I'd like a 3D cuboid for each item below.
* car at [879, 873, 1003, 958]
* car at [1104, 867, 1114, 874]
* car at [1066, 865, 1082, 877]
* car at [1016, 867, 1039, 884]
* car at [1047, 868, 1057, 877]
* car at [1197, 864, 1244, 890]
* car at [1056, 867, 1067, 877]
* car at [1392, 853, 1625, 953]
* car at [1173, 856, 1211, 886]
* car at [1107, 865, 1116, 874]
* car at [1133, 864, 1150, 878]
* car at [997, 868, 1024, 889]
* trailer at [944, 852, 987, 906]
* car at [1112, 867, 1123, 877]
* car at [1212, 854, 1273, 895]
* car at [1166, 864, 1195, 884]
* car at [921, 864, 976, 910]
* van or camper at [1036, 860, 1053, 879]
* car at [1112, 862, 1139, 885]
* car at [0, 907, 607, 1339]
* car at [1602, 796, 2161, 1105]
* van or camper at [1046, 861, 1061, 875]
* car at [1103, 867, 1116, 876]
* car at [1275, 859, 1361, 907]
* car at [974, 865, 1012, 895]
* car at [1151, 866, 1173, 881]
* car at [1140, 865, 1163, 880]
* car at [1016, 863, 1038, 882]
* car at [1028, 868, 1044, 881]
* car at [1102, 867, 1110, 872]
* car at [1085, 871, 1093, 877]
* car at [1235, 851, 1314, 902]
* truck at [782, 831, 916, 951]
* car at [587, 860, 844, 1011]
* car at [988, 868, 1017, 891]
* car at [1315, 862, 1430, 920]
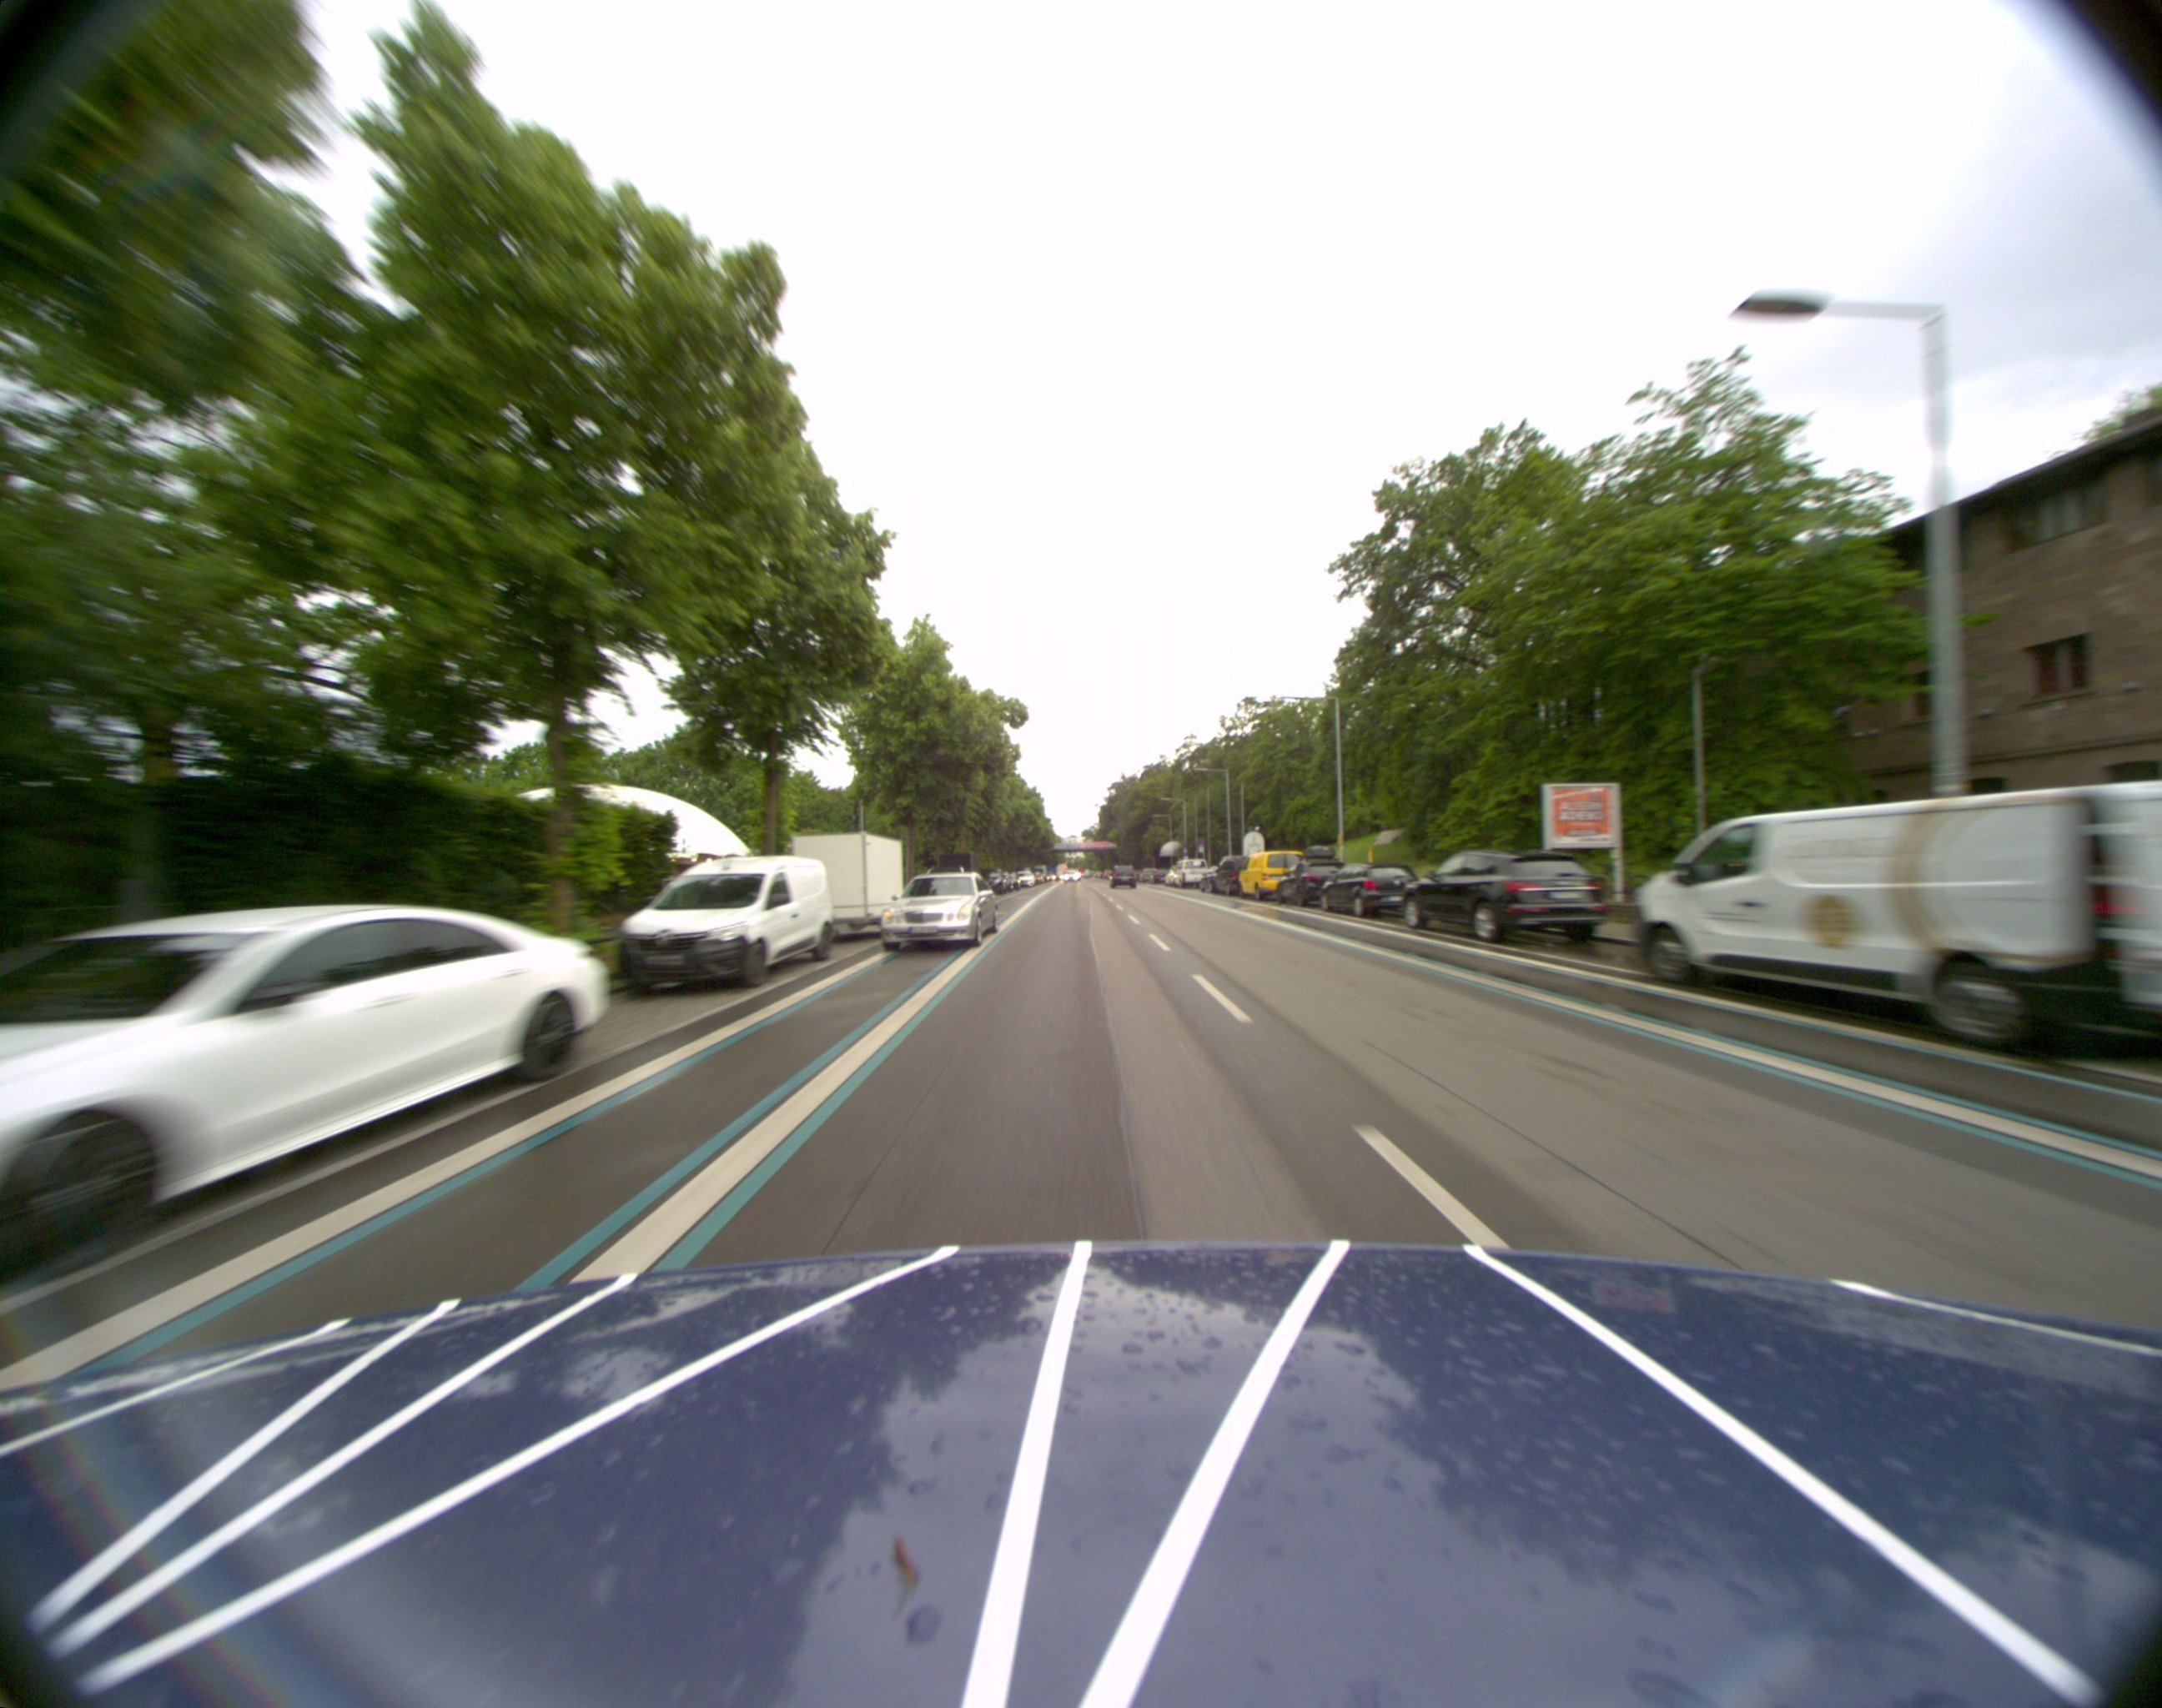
[{"bbox_3d":[-2.725,1.156,15.797,1.726,1.390,4.591,-2,-1,-1],"label":"car"},{"bbox_3d":[6.342,3.826,172.783,1.823,1.586,3.743,-1,-2,-3],"label":"car"},{"bbox_3d":[-0.877,2.169,96.523,1.828,1.453,3.882,-3,0,0],"label":"car"},{"bbox_3d":[-4.986,2.032,71.436,1.824,1.477,4.292,-2,0,0],"label":"car"},{"bbox_3d":[-5.340,3.398,140.646,1.733,1.578,3.671,-3,0,0],"label":"car"},{"bbox_3d":[7.964,1.294,43.739,1.688,1.450,4.611,0,-1,-2],"label":"car"},{"bbox_3d":[-3.391,3.124,132.796,1.733,1.578,3.671,-3,0,0],"label":"car"},{"bbox_3d":[7.934,0.836,14.725,1.829,1.606,4.663,-1,-1,-1],"label":"car"},{"bbox_3d":[7.819,1.191,53.795,1.877,1.965,4.735,-1,-1,-2],"label":"car"},{"bbox_3d":[7.211,3.737,182.023,1.823,1.940,3.743,-1,-2,-3],"label":"car"},{"bbox_3d":[7.641,2.196,96.844,1.822,1.754,4.001,-1,-2,0],"label":"car"},{"bbox_3d":[-5.265,1.823,57.382,1.690,1.374,4.083,-3,0,-2],"label":"car"},{"bbox_3d":[-5.236,1.101,34.680,1.350,2.256,3.564,-3,0,0],"label":"trailer"},{"bbox_3d":[6.963,3.446,145.927,1.823,1.731,3.744,-1,-2,-2],"label":"car"},{"bbox_3d":[7.918,0.984,37.788,1.881,1.909,5.204,0,-1,-1],"label":"car"},{"bbox_3d":[7.782,1.558,59.803,1.731,1.439,4.595,-1,-1,0],"label":"car"},{"bbox_3d":[-5.026,1.213,29.273,1.761,1.575,4.412,-2,0,-6],"label":"car"},{"bbox_3d":[-5.521,2.355,116.025,2.129,2.694,6.847,-3,0,0],"label":"van or camper"},{"bbox_3d":[3.195,1.445,55.497,1.715,1.608,4.150,0,-1,-1],"label":"car"},{"bbox_3d":[-4.949,1.173,4.219,1.664,1.418,4.618,-2,-1,0],"label":"car"},{"bbox_3d":[7.724,0.610,7.268,1.983,1.903,5.228,-2,-1,2],"label":"car"},{"bbox_3d":[-5.383,2.731,146.952,2.643,2.618,5.743,-2,0,0],"label":"van or camper"},{"bbox_3d":[5.864,3.591,156.393,1.824,1.732,3.740,0,-2,-12],"label":"car"},{"bbox_3d":[7.985,0.959,25.985,1.714,1.495,4.151,-1,-1,1],"label":"car"},{"bbox_3d":[-5.244,1.515,45.628,1.694,1.562,4.339,-4,0,0],"label":"car"},{"bbox_3d":[7.630,1.819,71.981,1.680,1.363,3.586,-1,-1,0],"label":"car"},{"bbox_3d":[7.272,1.911,78.618,1.795,1.459,4.328,-1,-1,-2],"label":"car"},{"bbox_3d":[-5.418,1.866,76.984,1.847,1.865,4.616,-2,-1,0],"label":"car"},{"bbox_3d":[-5.169,2.382,87.656,1.581,1.381,4.189,-3,0,0],"label":"car"},{"bbox_3d":[6.446,4.121,197.284,1.870,1.280,3.999,-1,-1,-3],"label":"car"},{"bbox_3d":[2.149,5.158,199.936,1.828,1.453,3.883,-3,-2,0],"label":"car"},{"bbox_3d":[7.959,0.910,31.707,1.999,1.901,4.845,-1,-1,0],"label":"car"},{"bbox_3d":[-5.041,0.762,17.102,1.723,2.319,4.000,-2,0,0],"label":"truck"},{"bbox_3d":[-5.137,1.018,11.438,1.726,1.780,4.345,-2,0,0],"label":"car"},{"bbox_3d":[-5.280,1.673,51.364,1.694,1.417,3.999,-2,0,-3],"label":"car"},{"bbox_3d":[7.972,0.959,21.151,1.612,1.437,4.038,-1,-1,0],"label":"car"}]
